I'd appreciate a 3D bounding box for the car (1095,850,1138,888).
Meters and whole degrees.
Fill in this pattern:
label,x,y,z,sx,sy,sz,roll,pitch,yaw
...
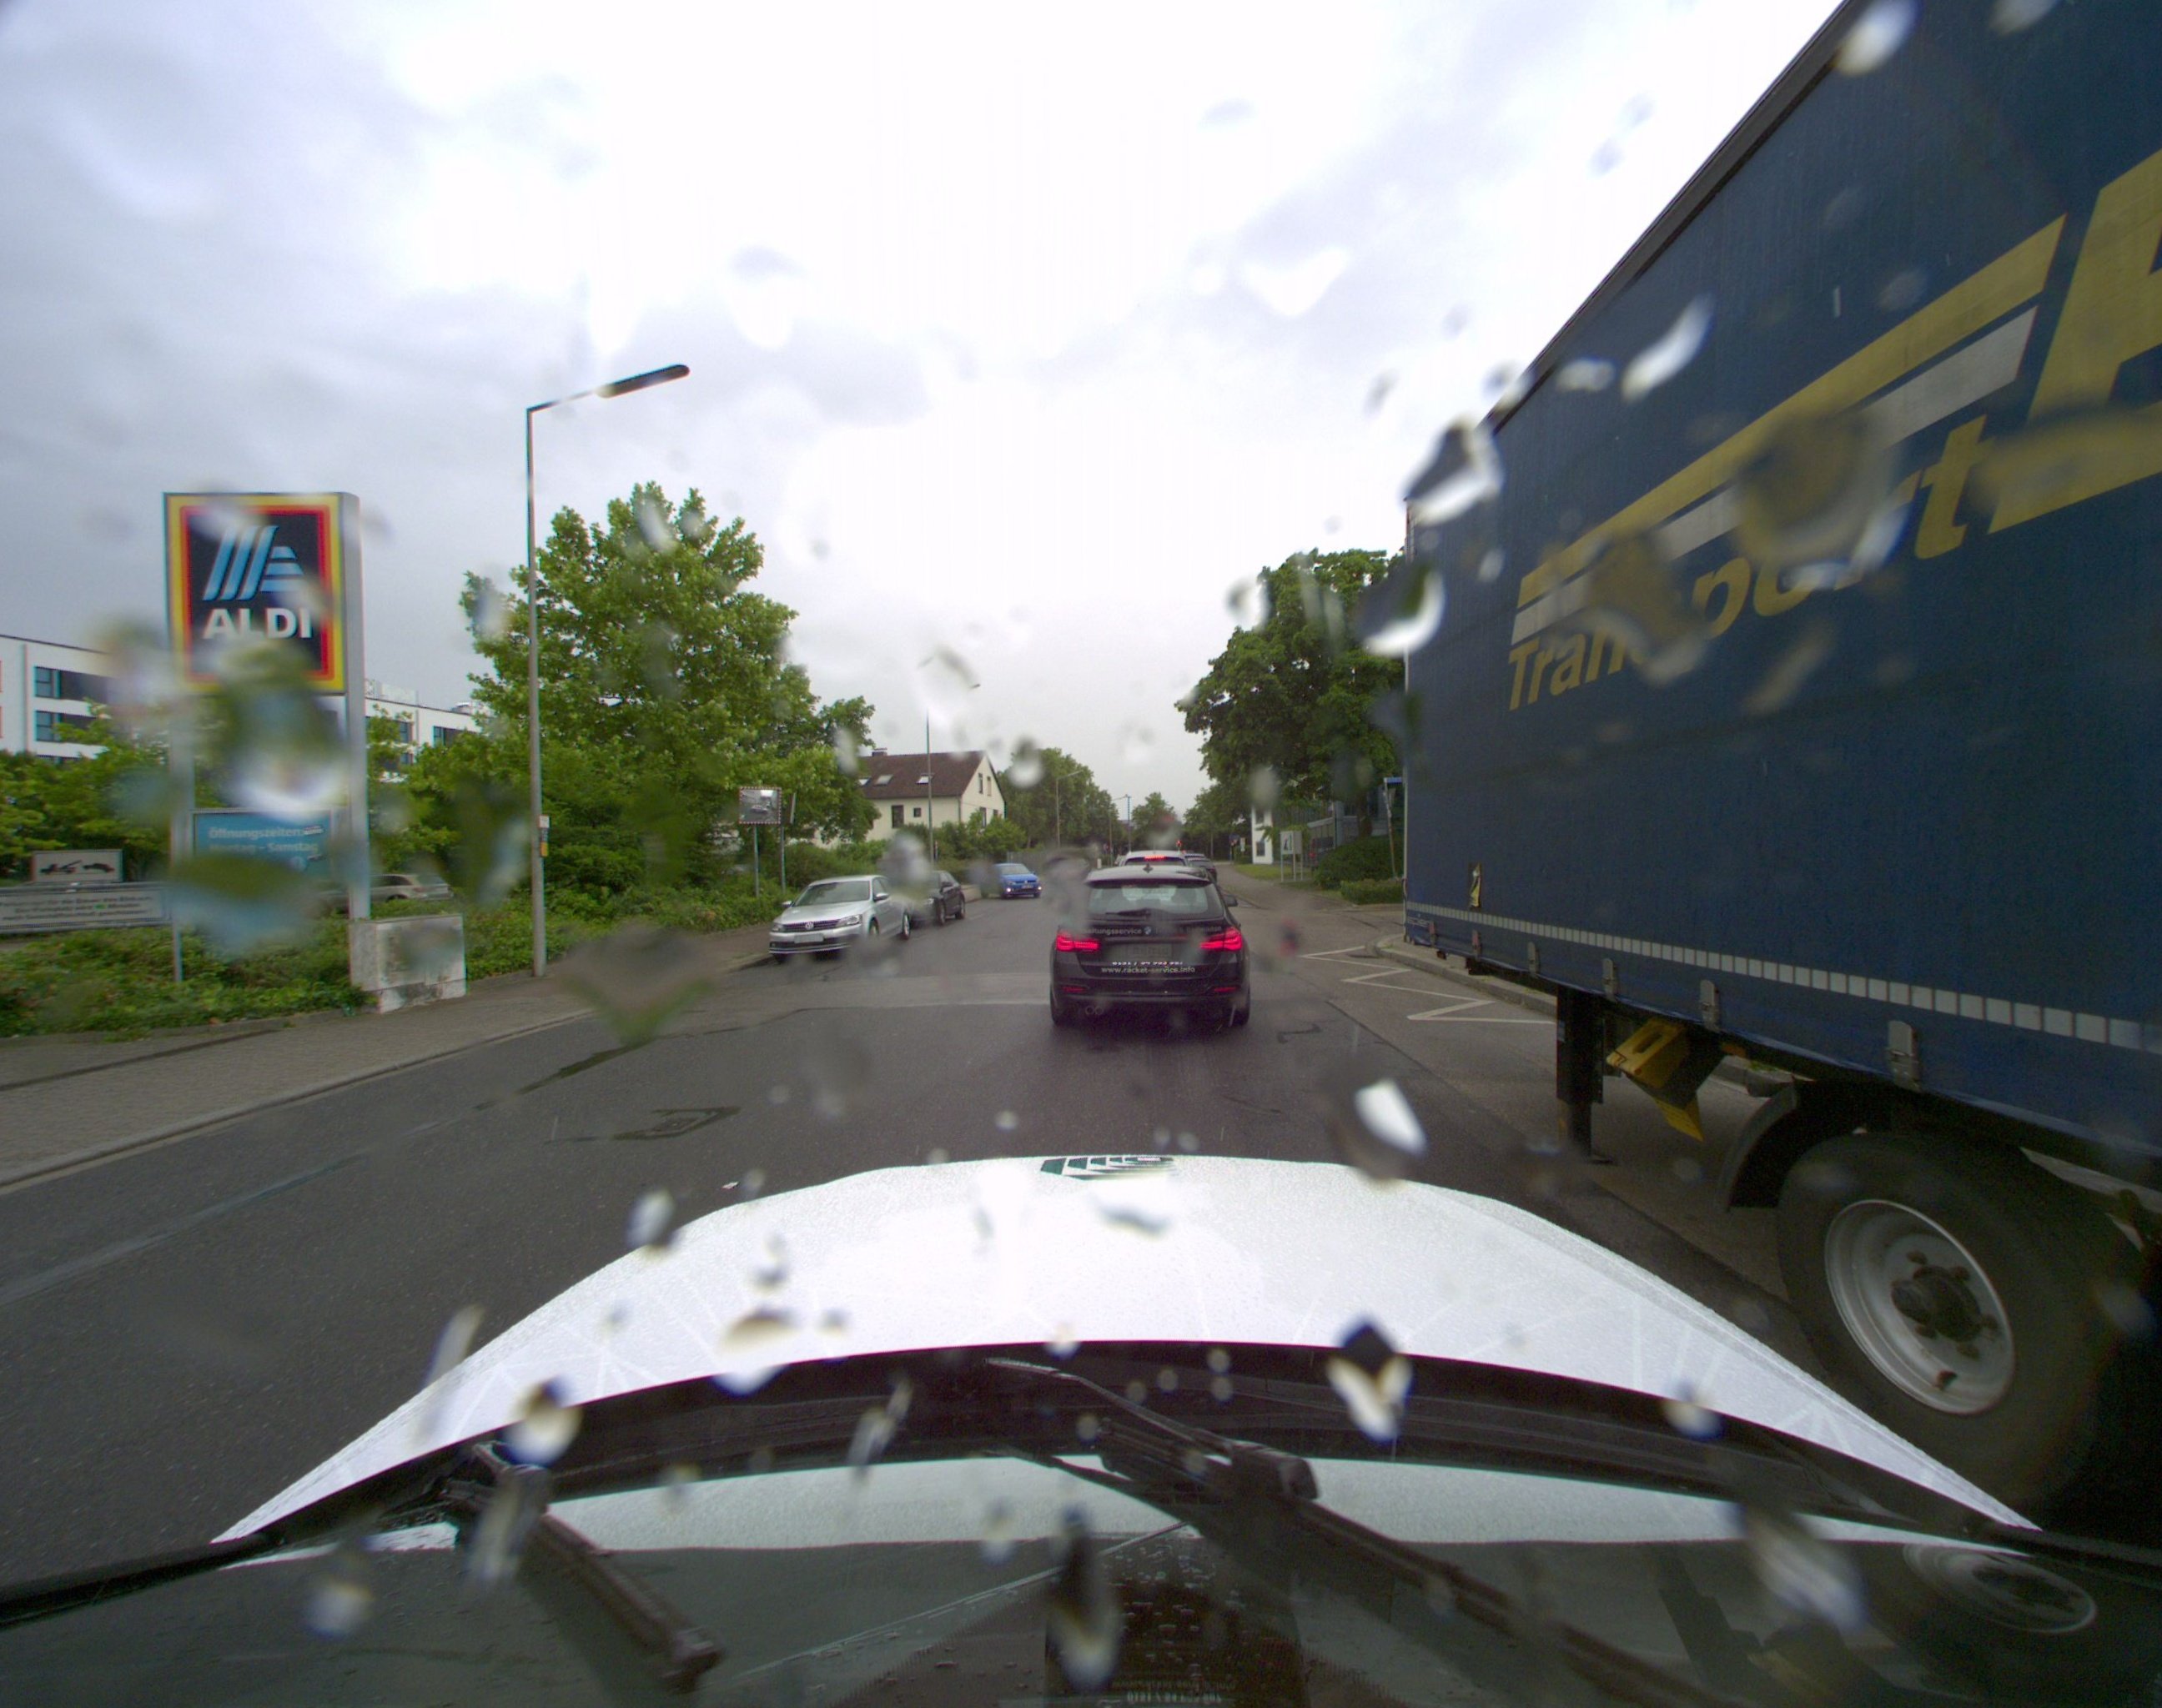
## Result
label,x,y,z,sx,sy,sz,roll,pitch,yaw
car,1.676,0.674,37.031,1.796,1.586,4.004,-1,-1,4

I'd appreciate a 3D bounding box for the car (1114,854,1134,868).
label,x,y,z,sx,sy,sz,roll,pitch,yaw
car,4.775,0.713,89.894,1.695,1.367,3.848,-4,0,9

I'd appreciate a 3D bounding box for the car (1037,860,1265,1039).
label,x,y,z,sx,sy,sz,roll,pitch,yaw
car,0.595,0.781,8.492,1.798,1.395,4.000,-1,-1,1

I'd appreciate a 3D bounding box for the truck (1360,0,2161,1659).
label,x,y,z,sx,sy,sz,roll,pitch,yaw
truck,3.274,-0.390,1.896,2.731,3.611,7.751,1,0,1

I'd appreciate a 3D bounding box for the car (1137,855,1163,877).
label,x,y,z,sx,sy,sz,roll,pitch,yaw
car,5.222,0.898,61.298,1.795,1.586,4.007,-1,-1,6

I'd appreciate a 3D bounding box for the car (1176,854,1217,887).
label,x,y,z,sx,sy,sz,roll,pitch,yaw
car,5.925,0.831,42.093,1.796,1.586,4.004,-1,-1,4

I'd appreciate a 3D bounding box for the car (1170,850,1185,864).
label,x,y,z,sx,sy,sz,roll,pitch,yaw
car,11.913,0.367,100.994,1.795,1.586,4.007,-2,0,6

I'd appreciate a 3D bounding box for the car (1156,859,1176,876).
label,x,y,z,sx,sy,sz,roll,pitch,yaw
car,7.930,1.253,76.009,1.795,1.586,4.007,-1,-1,6

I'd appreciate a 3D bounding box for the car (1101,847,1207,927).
label,x,y,z,sx,sy,sz,roll,pitch,yaw
car,1.518,0.686,18.337,1.800,1.586,3.995,-1,-1,-3

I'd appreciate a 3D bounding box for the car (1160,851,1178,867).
label,x,y,z,sx,sy,sz,roll,pitch,yaw
car,8.966,0.503,82.975,1.795,1.586,4.007,-2,0,6

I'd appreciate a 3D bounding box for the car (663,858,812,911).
label,x,y,z,sx,sy,sz,roll,pitch,yaw
car,-11.069,0.964,26.438,3.975,1.540,1.910,-1,0,-1

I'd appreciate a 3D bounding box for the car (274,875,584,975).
label,x,y,z,sx,sy,sz,roll,pitch,yaw
car,-10.325,1.097,13.109,3.558,1.460,1.712,0,0,0

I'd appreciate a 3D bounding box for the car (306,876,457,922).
label,x,y,z,sx,sy,sz,roll,pitch,yaw
car,-26.525,1.689,30.981,3.974,1.499,2.000,-2,0,0

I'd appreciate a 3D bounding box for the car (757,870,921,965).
label,x,y,z,sx,sy,sz,roll,pitch,yaw
car,-4.473,1.104,15.846,1.700,1.367,4.601,-4,0,0

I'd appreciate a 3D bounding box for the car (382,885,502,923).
label,x,y,z,sx,sy,sz,roll,pitch,yaw
car,-29.827,2.308,38.116,3.974,1.529,2.000,-2,0,0

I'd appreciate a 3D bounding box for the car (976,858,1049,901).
label,x,y,z,sx,sy,sz,roll,pitch,yaw
car,-2.931,1.058,34.026,1.715,1.594,3.805,-4,0,-26

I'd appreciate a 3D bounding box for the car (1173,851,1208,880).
label,x,y,z,sx,sy,sz,roll,pitch,yaw
car,6.343,0.660,47.581,1.796,1.586,4.004,-1,-1,4

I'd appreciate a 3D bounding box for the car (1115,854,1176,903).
label,x,y,z,sx,sy,sz,roll,pitch,yaw
car,2.239,0.844,29.261,1.799,1.586,3.998,-1,-1,-1

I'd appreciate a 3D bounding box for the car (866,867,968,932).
label,x,y,z,sx,sy,sz,roll,pitch,yaw
car,-4.208,1.124,21.445,1.699,1.367,3.840,-4,0,2

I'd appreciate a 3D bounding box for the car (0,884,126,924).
label,x,y,z,sx,sy,sz,roll,pitch,yaw
car,-43.984,2.133,34.782,3.974,1.529,2.000,-2,0,0

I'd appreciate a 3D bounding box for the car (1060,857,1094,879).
label,x,y,z,sx,sy,sz,roll,pitch,yaw
car,-0.243,0.997,58.166,1.695,1.367,3.848,-4,0,9
